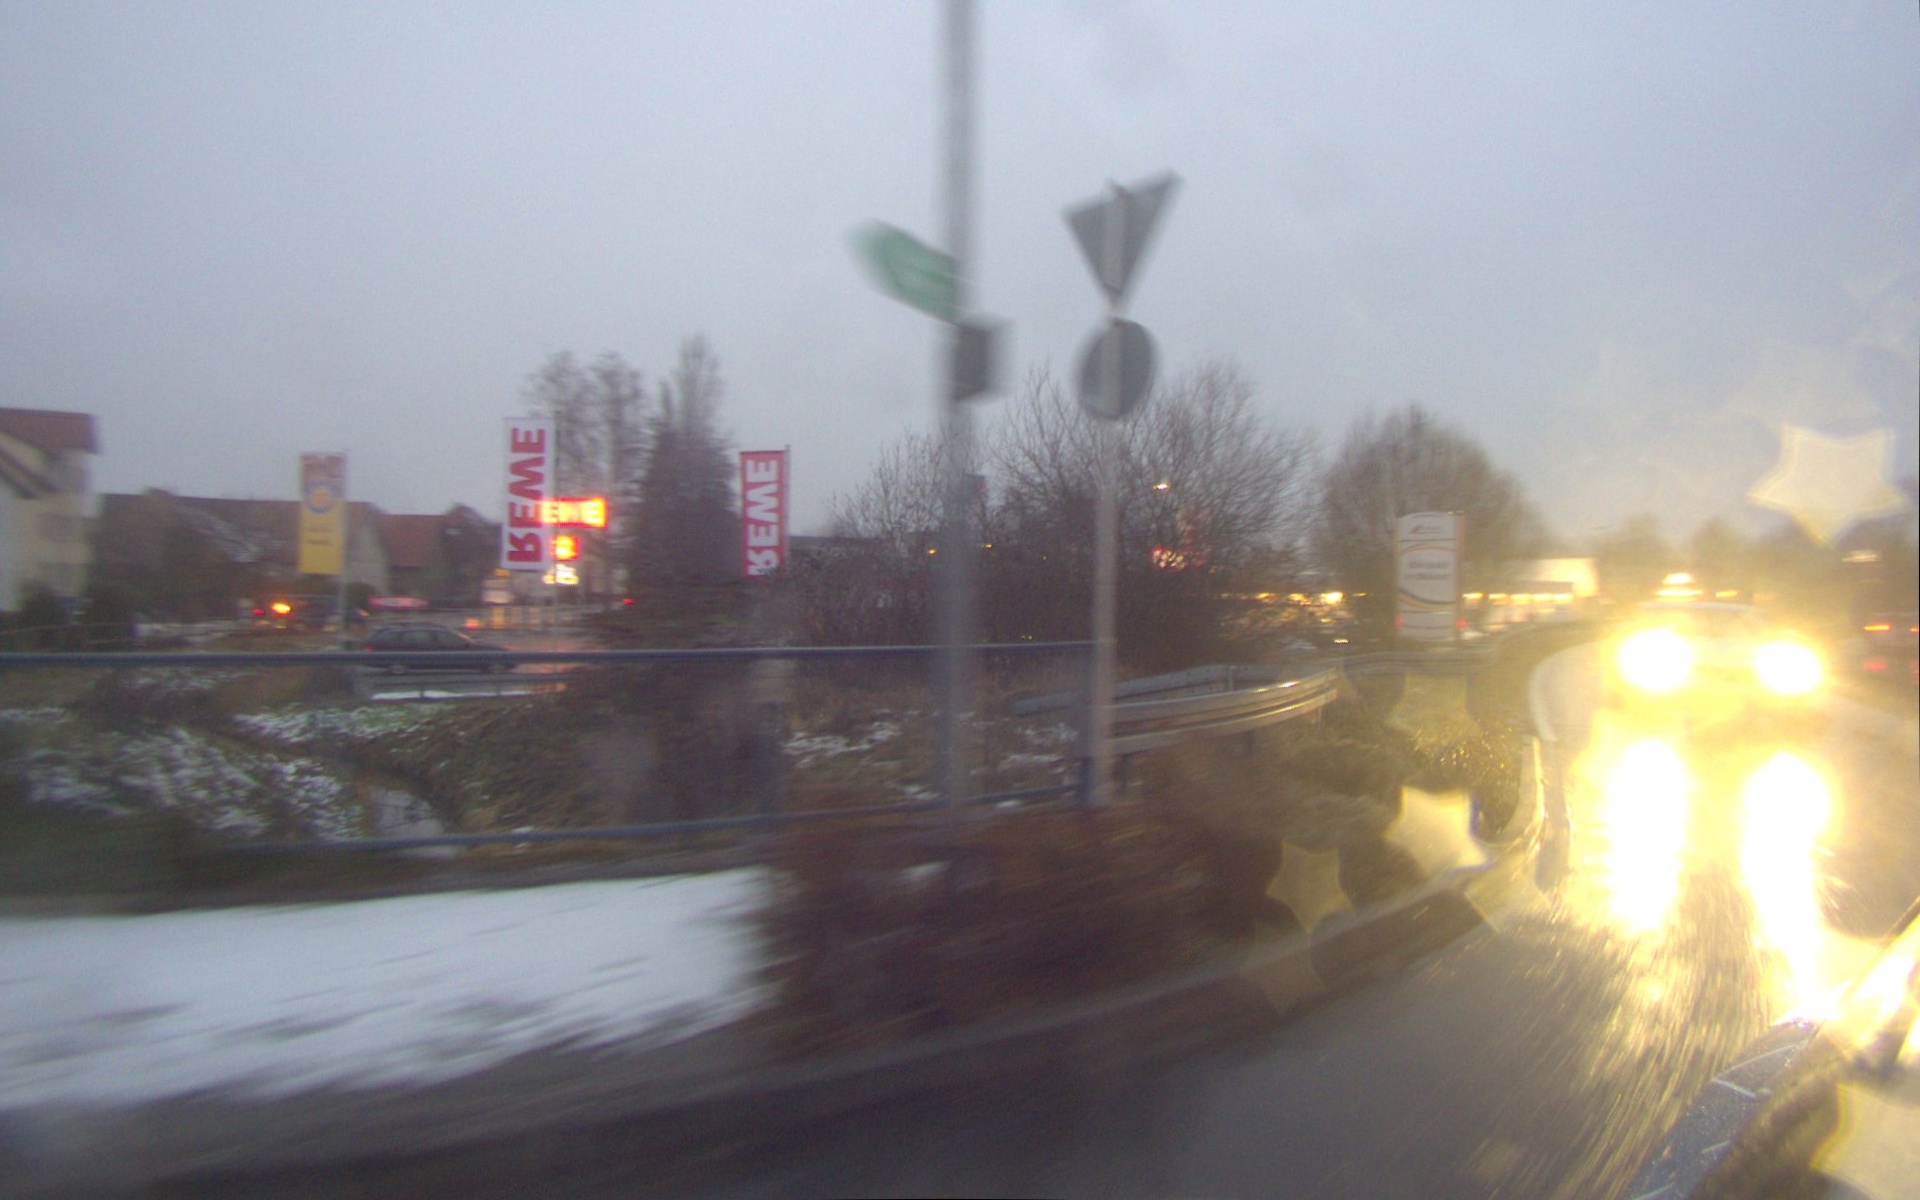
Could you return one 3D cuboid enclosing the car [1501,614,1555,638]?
[{"bbox_3d":[39.190,1.769,69.806,3.739,1.446,1.774,0,2,-35],"label":"car"}]

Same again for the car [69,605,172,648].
[{"bbox_3d":[-31.945,0.975,38.627,1.724,1.511,3.860,-2,0,-19],"label":"car"}]

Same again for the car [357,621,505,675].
[{"bbox_3d":[-16.221,1.431,31.103,3.876,1.420,1.611,-1,1,-35],"label":"car"}]

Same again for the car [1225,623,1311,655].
[{"bbox_3d":[15.683,1.967,51.692,3.935,1.457,1.792,1,1,10],"label":"car"}]

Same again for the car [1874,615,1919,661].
[{"bbox_3d":[34.221,1.339,36.415,1.603,1.488,3.637,1,1,36],"label":"car"}]

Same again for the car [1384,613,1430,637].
[{"bbox_3d":[33.516,1.867,75.980,1.794,1.660,4.463,1,0,5],"label":"car"}]

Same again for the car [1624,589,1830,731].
[{"bbox_3d":[10.115,0.666,13.648,1.797,1.479,4.199,-1,2,32],"label":"car"}]

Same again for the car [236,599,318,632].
[{"bbox_3d":[-33.879,0.753,50.285,1.879,1.511,3.716,-2,0,-7],"label":"car"}]

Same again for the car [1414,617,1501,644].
[{"bbox_3d":[31.531,1.908,64.302,4.639,1.414,1.895,2,2,16],"label":"car"}]

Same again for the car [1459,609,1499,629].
[{"bbox_3d":[42.176,1.565,82.305,1.689,1.536,3.255,0,0,3],"label":"car"}]

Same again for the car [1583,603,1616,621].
[{"bbox_3d":[59.227,1.082,93.750,1.694,1.429,3.988,2,2,20],"label":"car"}]

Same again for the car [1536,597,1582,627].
[{"bbox_3d":[53.488,1.032,90.496,2.250,2.470,5.212,2,2,17],"label":"car"}]

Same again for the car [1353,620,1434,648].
[{"bbox_3d":[25.804,2.032,60.353,4.118,1.414,1.897,2,2,14],"label":"car"}]
